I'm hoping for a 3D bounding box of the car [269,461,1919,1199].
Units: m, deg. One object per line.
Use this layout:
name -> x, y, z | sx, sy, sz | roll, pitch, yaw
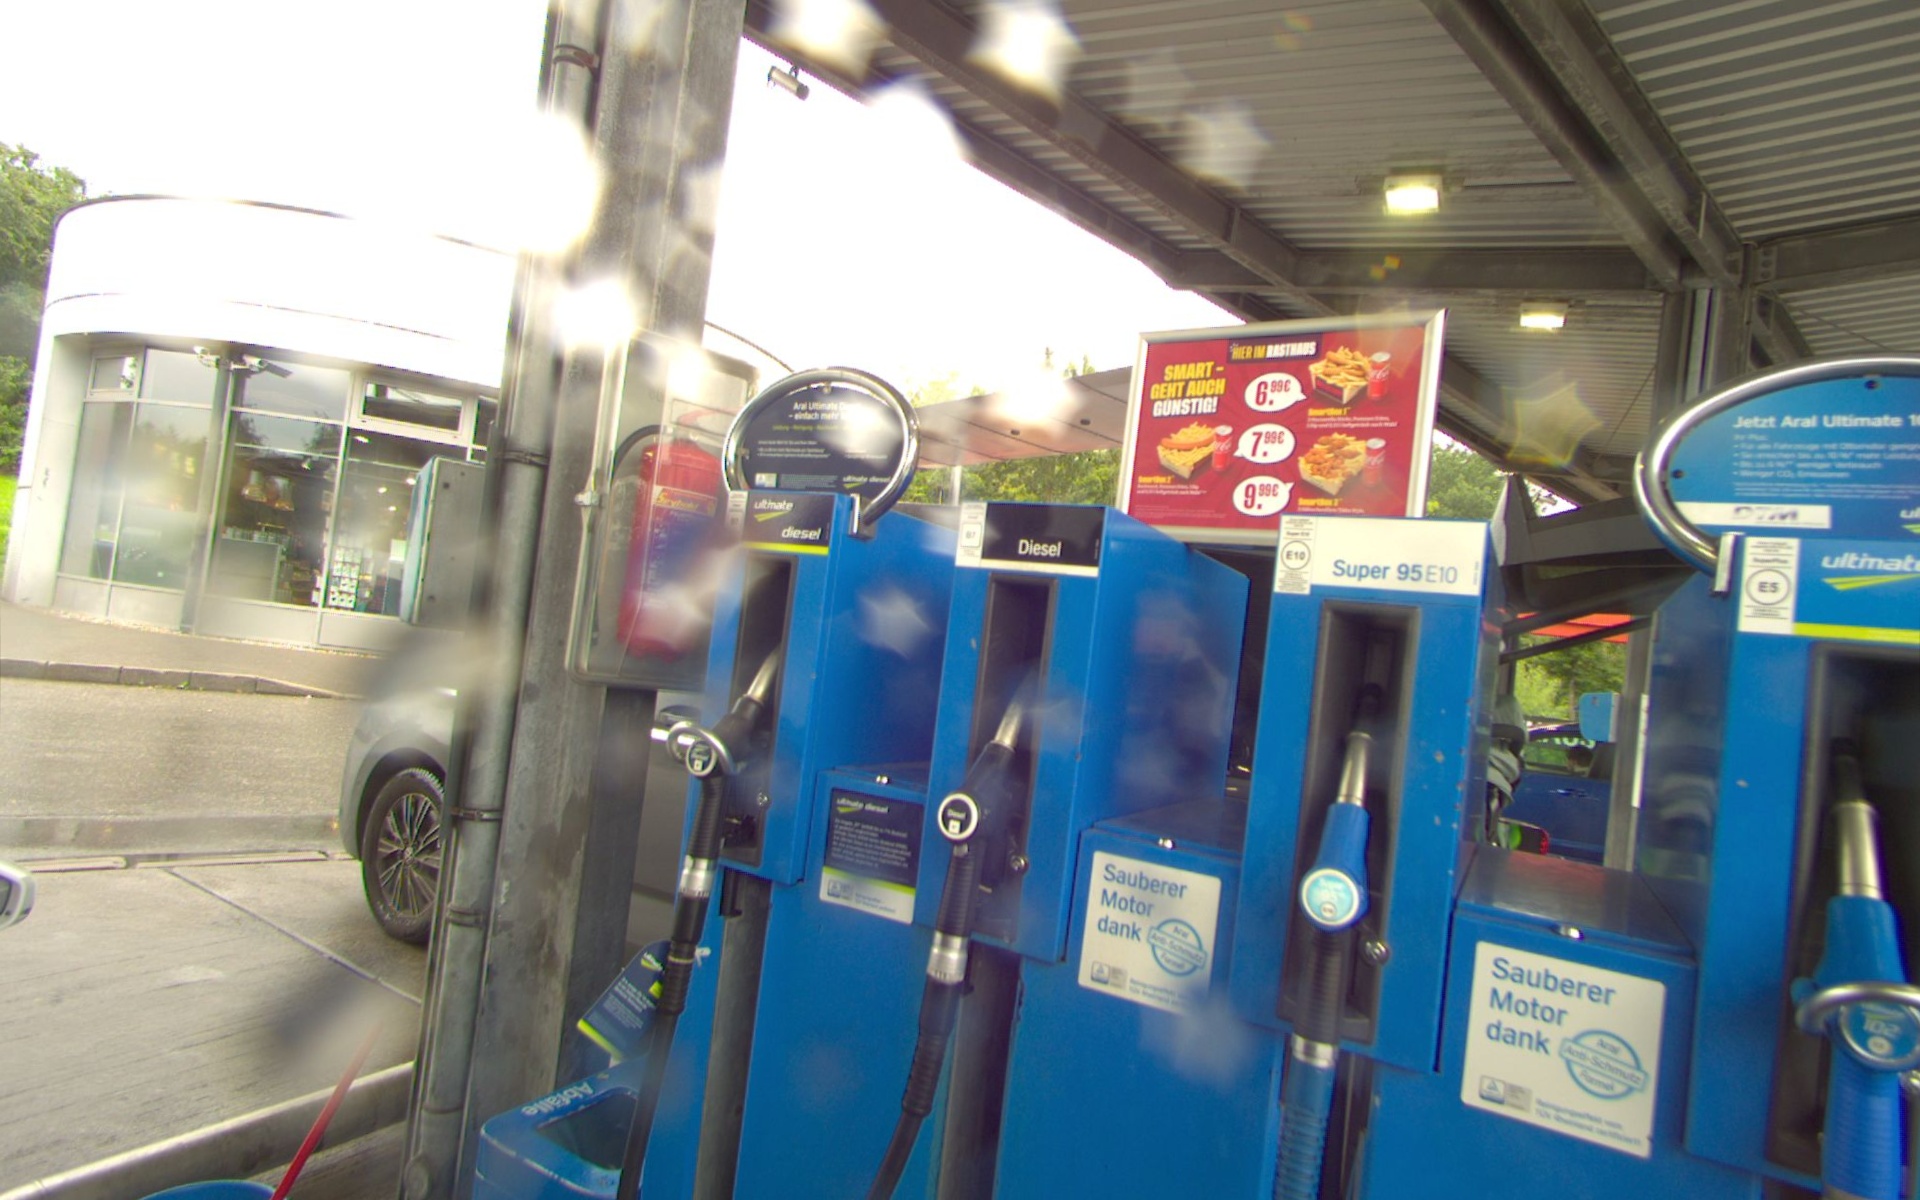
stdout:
car -> -0.167, 0.642, 3.678 | 5.055, 1.819, 1.865 | 6, -2, 32
